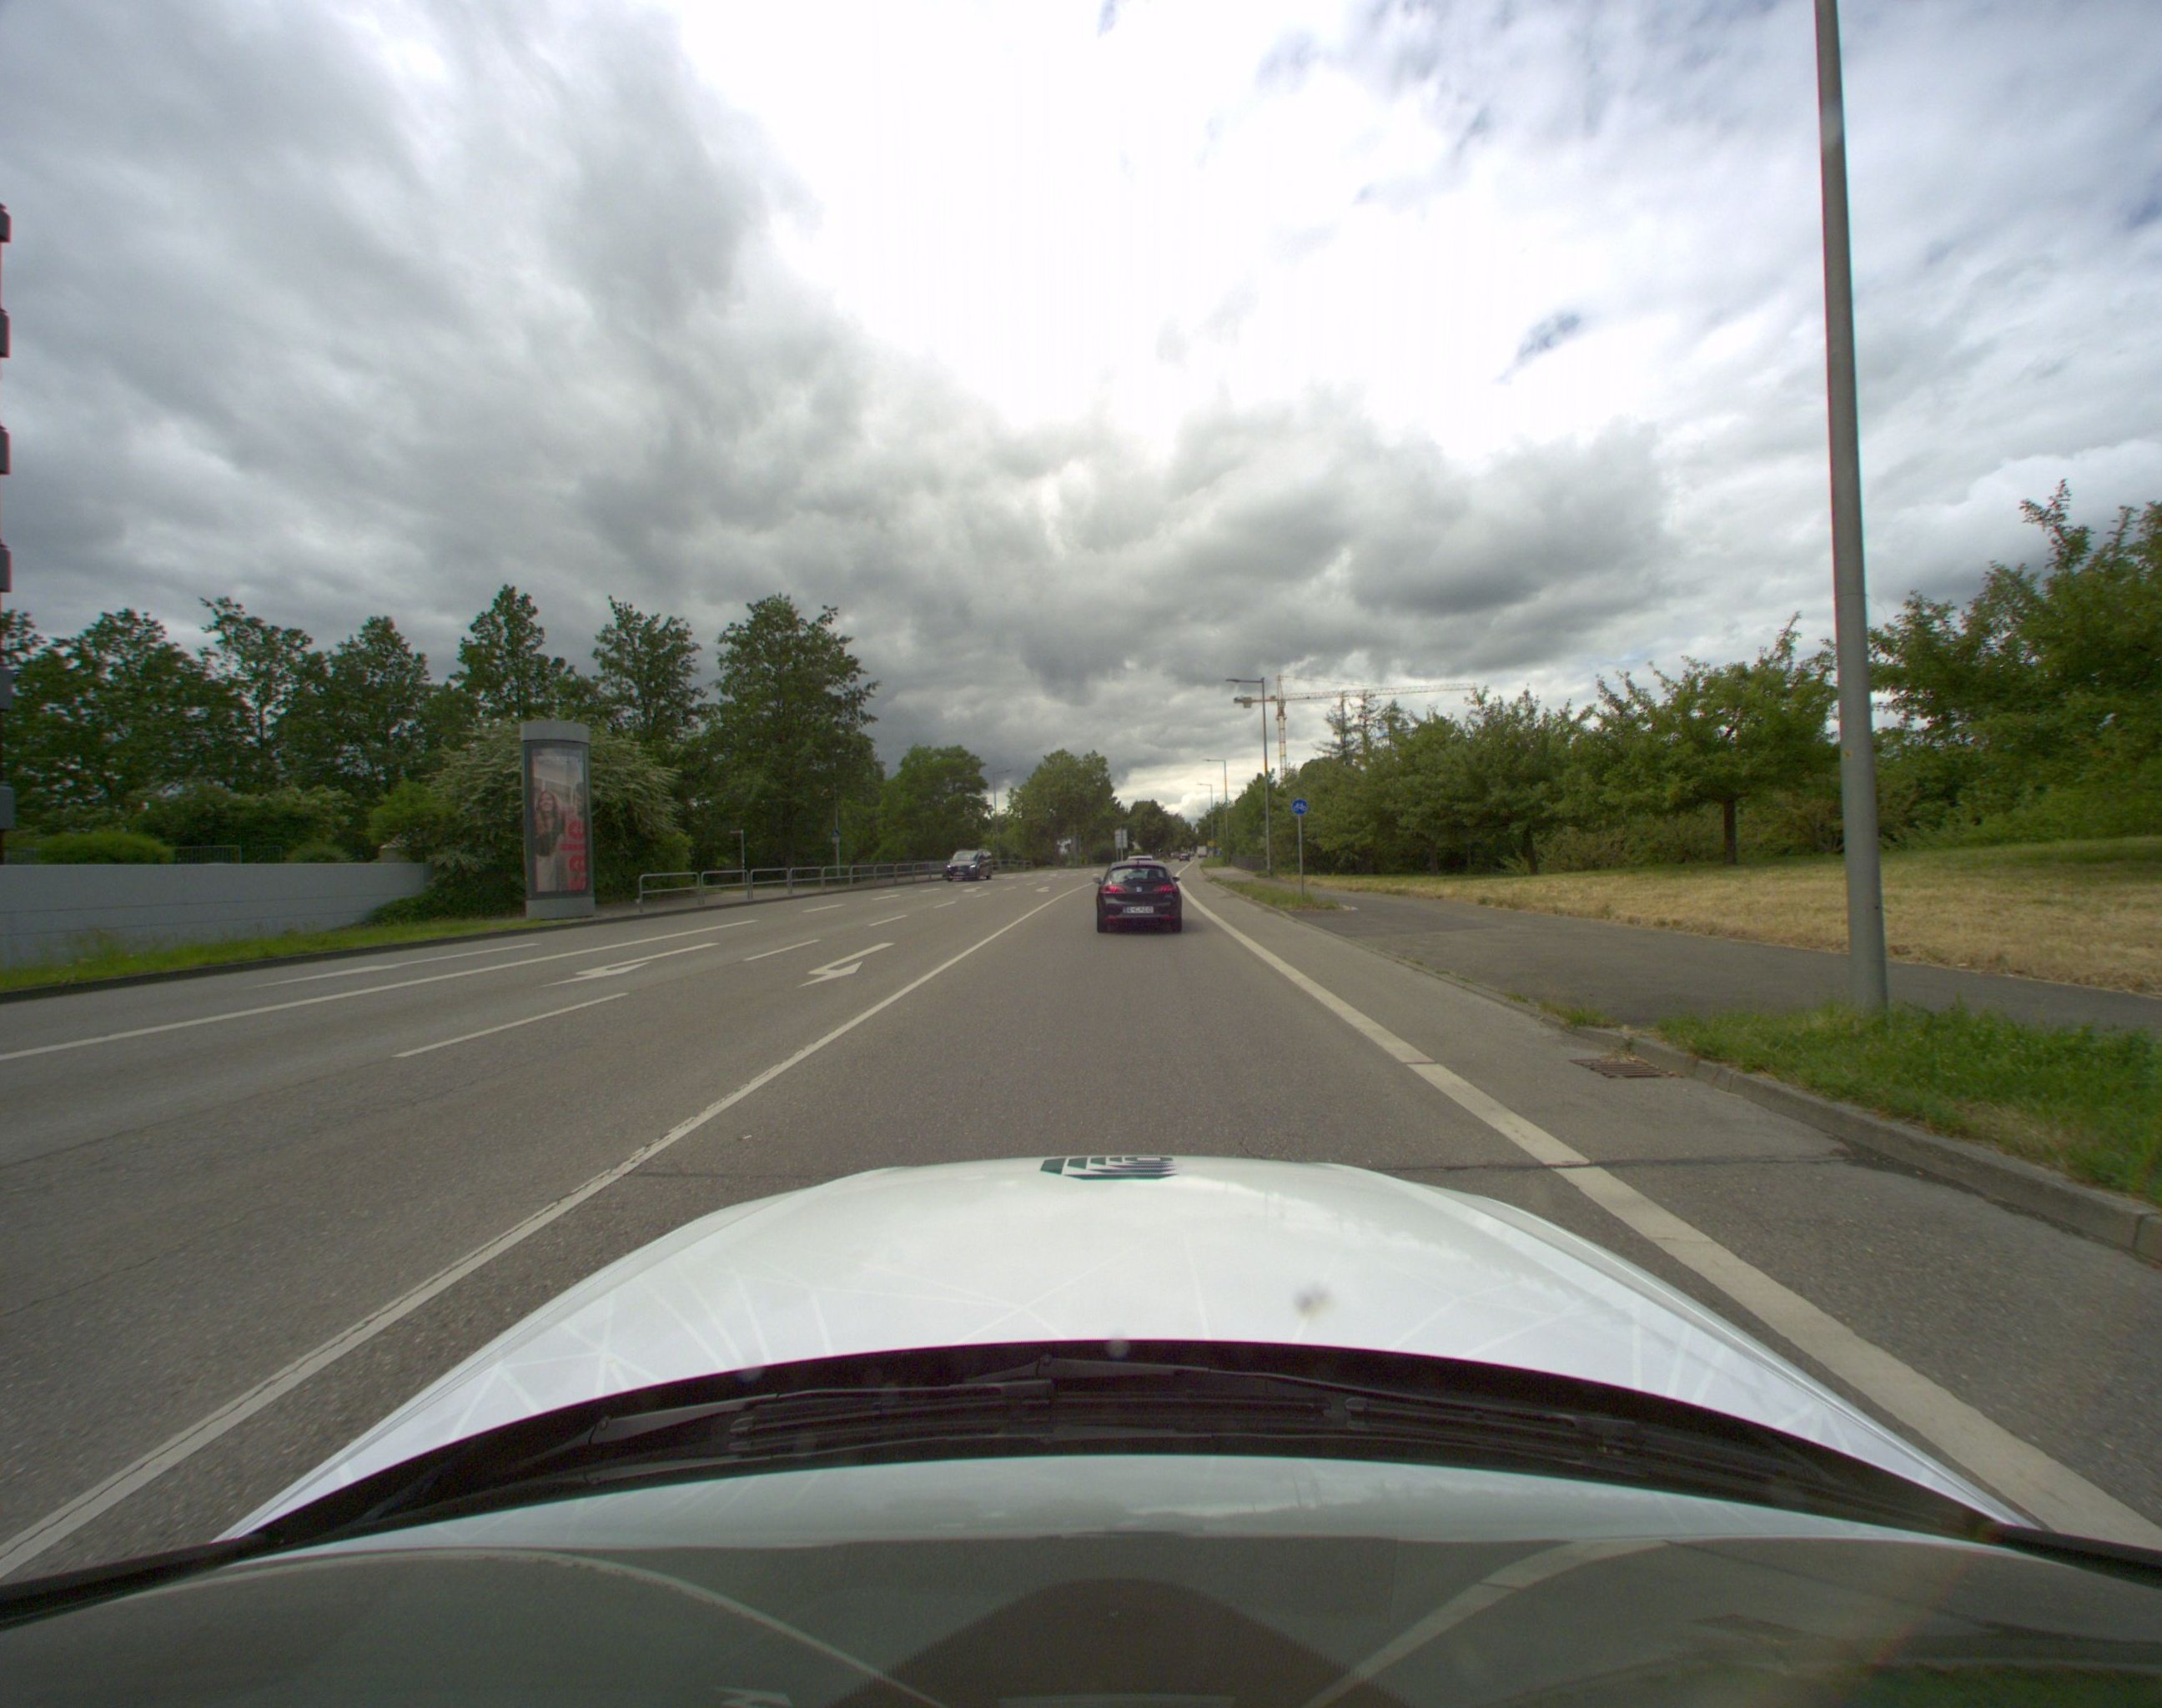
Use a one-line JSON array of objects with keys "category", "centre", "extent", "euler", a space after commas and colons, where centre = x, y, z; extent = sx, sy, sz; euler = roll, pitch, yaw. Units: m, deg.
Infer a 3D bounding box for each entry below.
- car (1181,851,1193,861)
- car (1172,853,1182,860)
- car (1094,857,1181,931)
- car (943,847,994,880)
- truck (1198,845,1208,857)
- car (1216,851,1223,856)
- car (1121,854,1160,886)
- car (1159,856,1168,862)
[{"category": "car", "centre": [19.056, 0.321, 146.143], "extent": [1.869, 1.689, 4.226], "euler": [-2, 0, 11]}, {"category": "car", "centre": [26.693, 0.700, 226.394], "extent": [2.086, 1.896, 5.801], "euler": [-4, -1, 11]}, {"category": "car", "centre": [1.217, 0.783, 17.663], "extent": [1.655, 1.401, 3.815], "euler": [-1, 0, 4]}, {"category": "car", "centre": [-6.935, 0.557, 50.787], "extent": [2.009, 1.947, 5.370], "euler": [-2, 0, 4]}, {"category": "truck", "centre": [32.404, -0.667, 215.525], "extent": [2.264, 3.104, 8.537], "euler": [0, 0, 11]}, {"category": "car", "centre": [37.249, -0.153, 218.926], "extent": [1.677, 1.490, 3.365], "euler": [-2, 0, 11]}, {"category": "car", "centre": [2.982, 0.770, 40.506], "extent": [1.837, 1.510, 3.816], "euler": [-1, 0, 5]}, {"category": "car", "centre": [19.997, 1.148, 198.065], "extent": [1.707, 1.395, 4.815], "euler": [-4, -1, 11]}]
